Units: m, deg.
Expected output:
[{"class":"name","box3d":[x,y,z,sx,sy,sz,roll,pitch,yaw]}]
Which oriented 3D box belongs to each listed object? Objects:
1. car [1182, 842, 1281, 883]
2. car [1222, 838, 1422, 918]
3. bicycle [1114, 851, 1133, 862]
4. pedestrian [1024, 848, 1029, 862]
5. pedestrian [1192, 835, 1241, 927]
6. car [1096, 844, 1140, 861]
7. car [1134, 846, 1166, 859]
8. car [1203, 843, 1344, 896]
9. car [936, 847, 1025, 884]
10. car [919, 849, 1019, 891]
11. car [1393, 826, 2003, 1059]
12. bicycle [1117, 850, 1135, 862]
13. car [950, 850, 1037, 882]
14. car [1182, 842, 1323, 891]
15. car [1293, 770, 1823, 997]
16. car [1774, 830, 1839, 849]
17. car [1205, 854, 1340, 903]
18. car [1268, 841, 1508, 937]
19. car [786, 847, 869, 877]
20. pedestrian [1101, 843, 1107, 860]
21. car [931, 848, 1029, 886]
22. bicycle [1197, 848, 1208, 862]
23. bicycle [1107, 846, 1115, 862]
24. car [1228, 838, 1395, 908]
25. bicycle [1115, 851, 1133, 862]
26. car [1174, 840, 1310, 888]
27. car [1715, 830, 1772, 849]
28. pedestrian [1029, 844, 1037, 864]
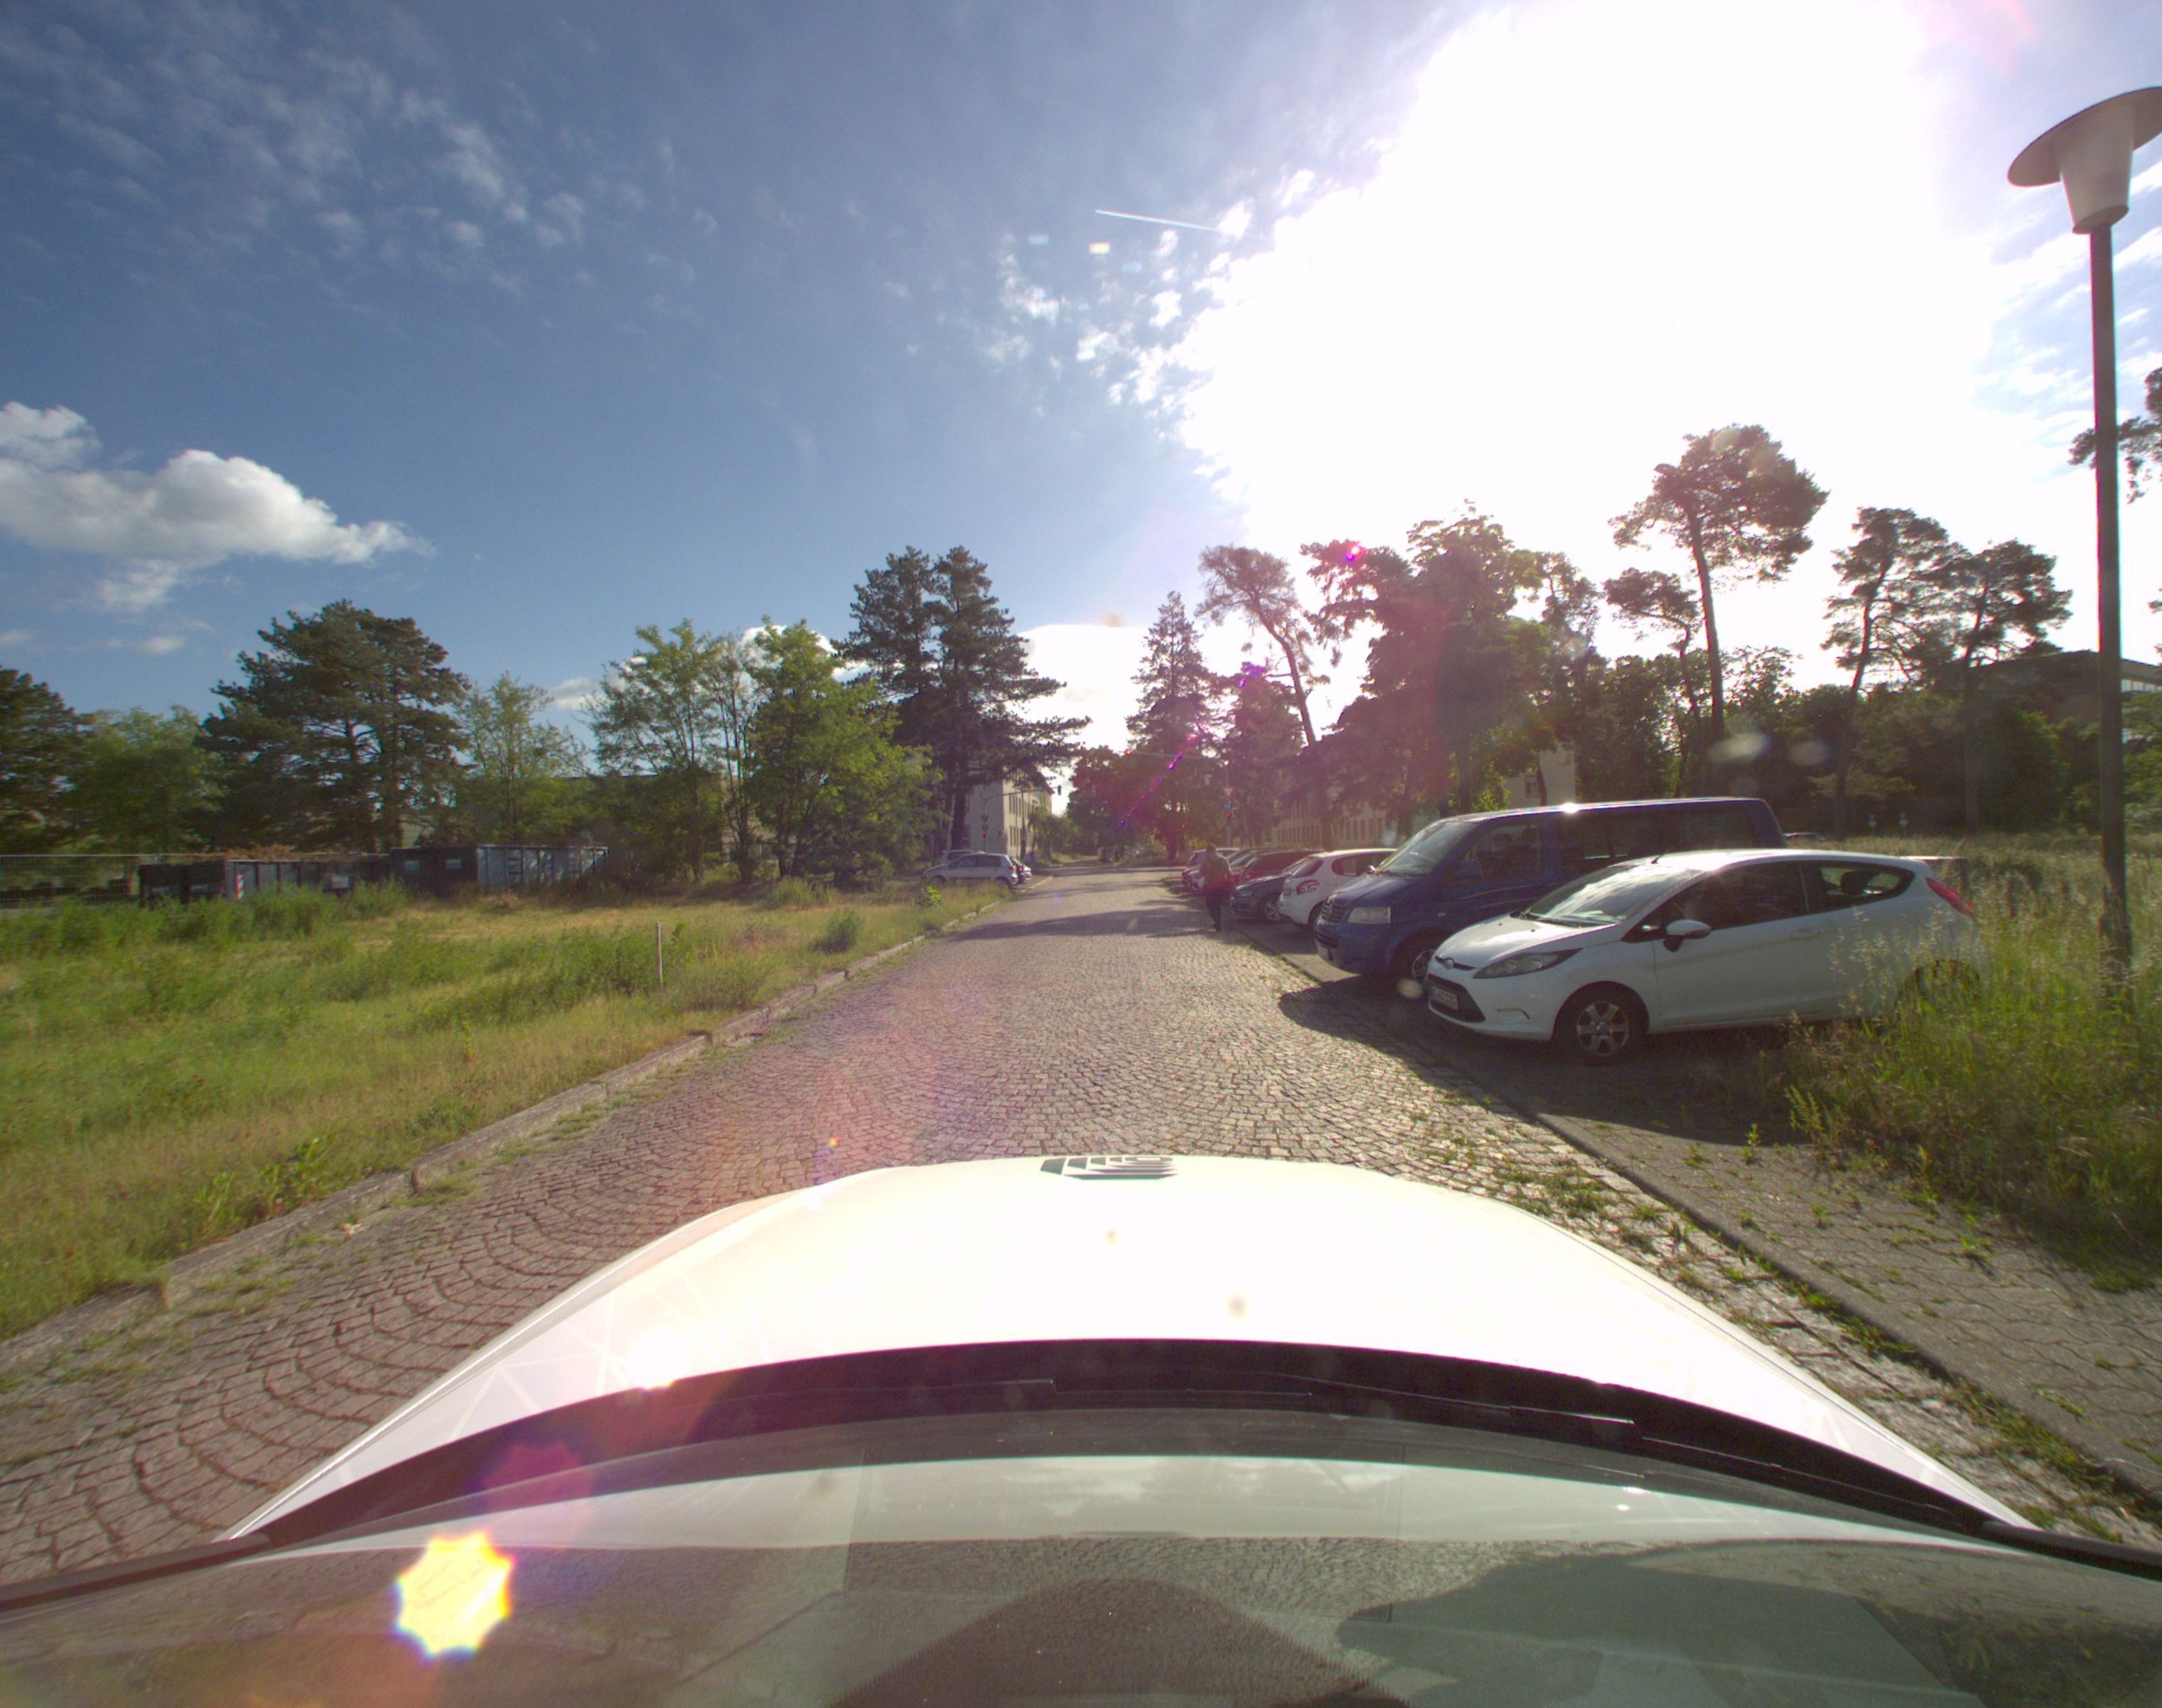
[{"class":"car","box3d":[6.020,0.327,32.844,3.659,1.443,1.666,-3,0,1]},{"class":"car","box3d":[5.025,0.486,17.403,3.765,1.450,1.759,-3,0,3]},{"class":"bicycle","box3d":[4.249,0.255,81.870,1.829,1.112,0.495,-2,0,-2]},{"class":"pedestrian","box3d":[-6.445,0.115,96.142,0.606,1.559,0.544,-1,0,-5]},{"class":"pedestrian","box3d":[2.650,0.515,15.995,0.750,1.725,0.829,3,0,1]},{"class":"car","box3d":[4.476,-0.236,99.756,5.063,1.918,1.995,-2,0,-8]},{"class":"car","box3d":[8.753,-0.193,103.600,3.738,1.580,1.738,-1,0,-6]},{"class":"car","box3d":[5.890,0.456,25.243,3.965,1.448,1.656,-2,0,1]},{"class":"car","box3d":[-4.591,0.526,37.584,3.866,1.615,1.661,1,0,0]},{"class":"car","box3d":[-4.382,0.614,32.251,3.674,1.527,1.699,1,0,-1]},{"class":"car","box3d":[4.712,0.622,6.600,3.708,1.466,1.609,-3,0,-1]},{"class":"bicycle","box3d":[4.594,0.204,83.088,1.722,1.164,0.561,-2,0,-2]},{"class":"car","box3d":[-4.324,0.557,40.425,3.966,1.496,1.776,1,1,6]},{"class":"car","box3d":[5.762,0.410,27.667,4.384,1.388,1.789,-3,0,0]},{"class":"car","box3d":[5.053,0.296,9.220,4.736,2.013,2.001,-3,0,2]},{"class":"car","box3d":[59.083,-1.171,66.376,3.619,1.497,1.769,-2,0,4]},{"class":"car","box3d":[5.312,0.657,22.867,3.447,1.242,1.537,-1,0,2]},{"class":"car","box3d":[5.321,0.581,14.461,3.631,1.492,1.635,-2,0,2]},{"class":"car","box3d":[-14.834,0.455,47.821,4.127,1.608,2.011,-2,0,2]},{"class":"pedestrian","box3d":[2.762,-0.272,97.956,0.592,2.013,0.573,-2,0,3]},{"class":"car","box3d":[-4.282,0.546,34.916,3.924,1.445,1.691,2,0,0]},{"class":"bicycle","box3d":[10.416,0.078,69.811,0.717,1.115,2.592,-2,0,12]},{"class":"bicycle","box3d":[2.875,-0.019,78.716,0.750,1.580,2.537,-1,0,1]},{"class":"car","box3d":[5.662,0.447,20.285,3.649,1.455,1.667,-3,0,1]},{"class":"bicycle","box3d":[4.336,0.250,82.413,1.722,1.112,0.484,-2,0,-2]},{"class":"car","box3d":[5.923,0.358,30.307,4.605,1.455,1.869,-4,0,-1]},{"class":"car","box3d":[60.088,-1.309,73.886,3.619,1.671,1.769,-2,0,4]},{"class":"pedestrian","box3d":[-4.271,0.010,72.432,0.608,1.752,0.627,-1,0,-17]}]
